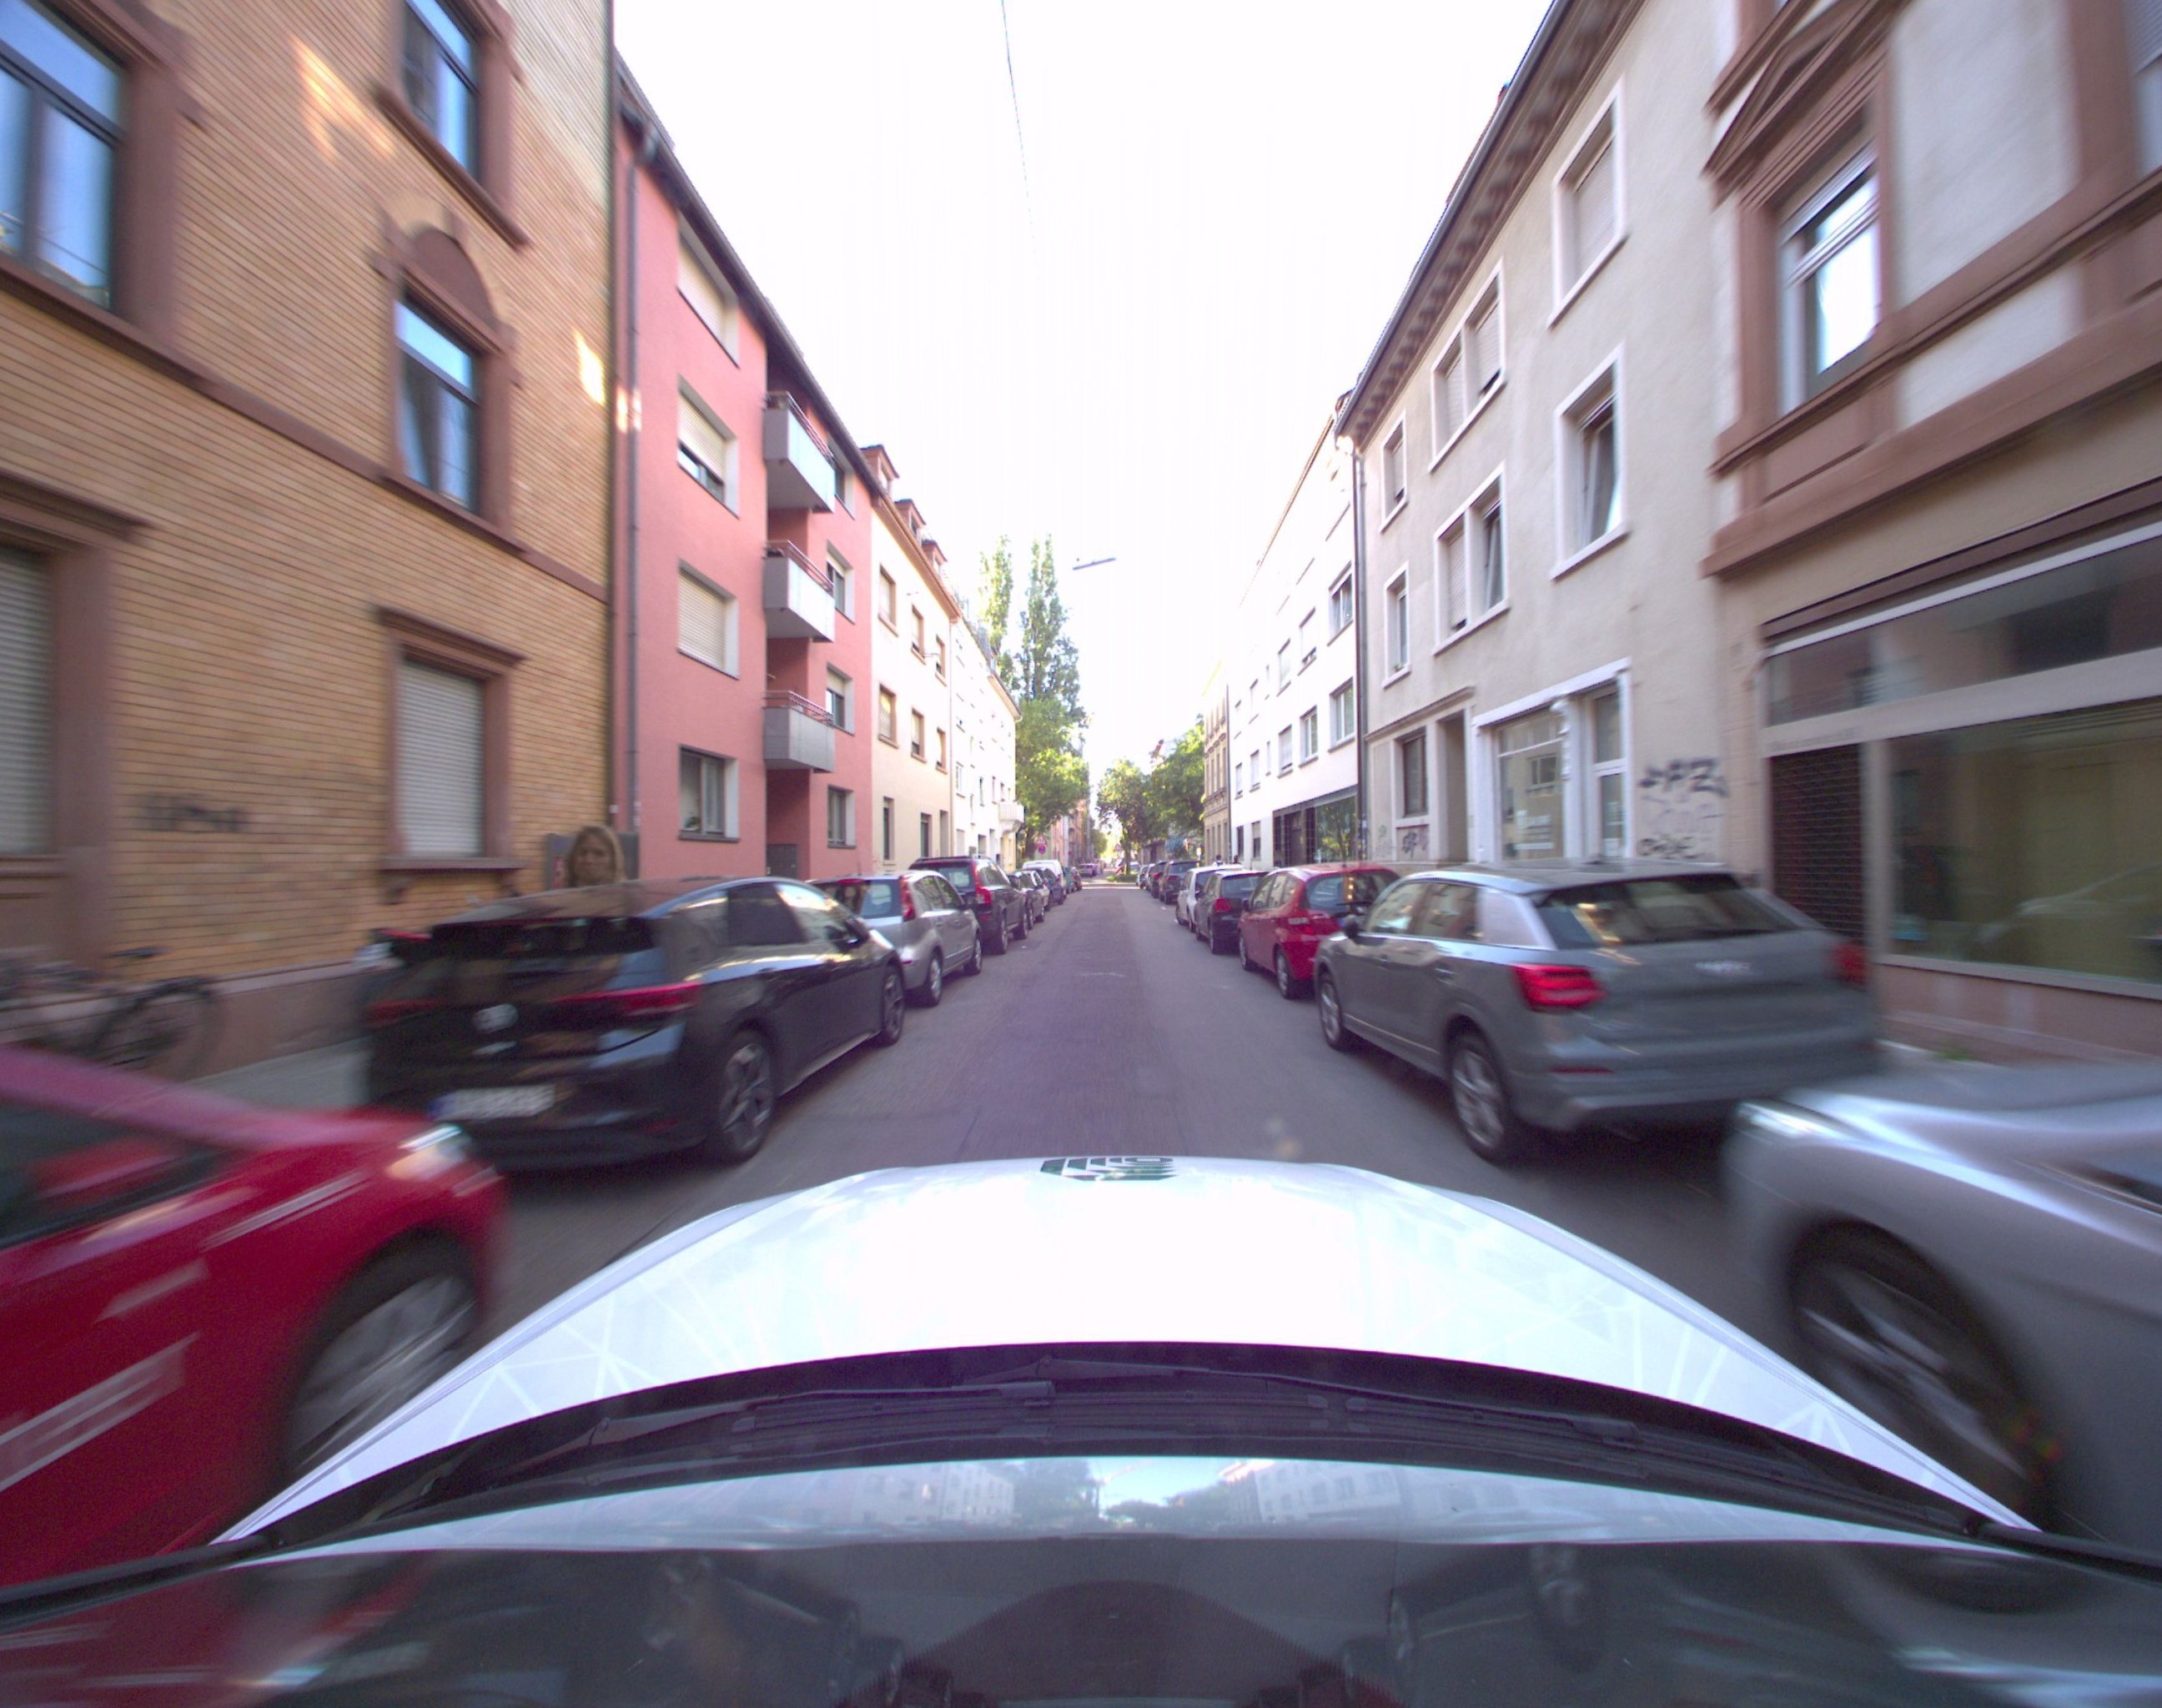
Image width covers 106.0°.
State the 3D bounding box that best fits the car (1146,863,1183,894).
[{"bbox_3d":[4.323,1.246,42.444,1.560,1.483,3.620,-3,0,1],"label":"car"}]

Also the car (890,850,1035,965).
[{"bbox_3d":[-2.102,0.896,15.813,1.736,1.811,4.677,-3,0,4],"label":"car"}]

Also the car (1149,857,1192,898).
[{"bbox_3d":[4.056,1.044,37.242,1.669,1.681,4.097,-3,-1,3],"label":"car"}]

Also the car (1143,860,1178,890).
[{"bbox_3d":[4.533,1.173,46.656,1.670,1.561,3.797,-3,0,1],"label":"car"}]

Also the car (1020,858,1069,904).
[{"bbox_3d":[-1.522,1.106,35.321,1.759,1.785,4.040,-3,0,1],"label":"car"}]

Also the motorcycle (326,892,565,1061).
[{"bbox_3d":[-5.460,0.985,7.175,0.531,1.206,1.910,-1,-1,3],"label":"motorcycle"}]

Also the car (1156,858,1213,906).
[{"bbox_3d":[4.020,1.043,32.246,1.670,1.627,4.251,-5,-1,1],"label":"car"}]

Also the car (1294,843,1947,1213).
[{"bbox_3d":[2.863,0.764,5.537,1.738,1.507,4.021,-3,0,0],"label":"car"}]

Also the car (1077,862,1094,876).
[{"bbox_3d":[0.547,1.627,89.240,1.670,1.487,4.096,-3,0,1],"label":"car"}]

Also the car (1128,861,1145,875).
[{"bbox_3d":[6.116,1.515,90.378,1.670,1.487,3.639,-3,0,1],"label":"car"}]

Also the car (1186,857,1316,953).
[{"bbox_3d":[3.076,0.854,15.472,1.670,1.507,3.938,-3,0,1],"label":"car"}]

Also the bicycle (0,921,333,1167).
[{"bbox_3d":[-5.574,1.010,4.757,0.531,1.074,1.892,3,0,3],"label":"bicycle"}]

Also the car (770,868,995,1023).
[{"bbox_3d":[-2.324,1.010,10.625,1.649,1.521,3.948,-3,0,4],"label":"car"}]

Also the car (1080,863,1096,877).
[{"bbox_3d":[0.808,1.788,94.656,1.670,1.487,4.096,-3,0,1],"label":"car"}]

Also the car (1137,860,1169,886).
[{"bbox_3d":[4.521,1.199,51.564,1.670,1.487,4.096,-3,0,1],"label":"car"}]

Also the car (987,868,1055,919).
[{"bbox_3d":[-1.852,1.208,26.247,1.667,1.388,4.183,-3,0,2],"label":"car"}]

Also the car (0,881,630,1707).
[{"bbox_3d":[-2.519,0.871,1.142,1.622,1.481,3.602,-3,0,1],"label":"car"}]

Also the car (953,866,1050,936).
[{"bbox_3d":[-1.939,1.135,21.219,1.736,1.507,4.350,-3,0,4],"label":"car"}]

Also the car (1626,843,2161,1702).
[{"bbox_3d":[2.812,0.747,0.664,1.738,1.507,4.356,-3,0,-1],"label":"car"}]

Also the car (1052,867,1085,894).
[{"bbox_3d":[-0.692,1.539,48.298,1.664,1.361,4.050,-3,0,2],"label":"car"}]

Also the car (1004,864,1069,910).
[{"bbox_3d":[-1.611,1.178,30.638,1.664,1.486,4.000,-3,0,7],"label":"car"}]

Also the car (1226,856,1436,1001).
[{"bbox_3d":[3.107,0.832,11.024,1.592,1.507,4.185,-3,0,1],"label":"car"}]

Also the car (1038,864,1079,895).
[{"bbox_3d":[-1.171,1.364,44.045,1.662,1.469,3.826,-3,0,5],"label":"car"}]

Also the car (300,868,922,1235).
[{"bbox_3d":[-2.528,0.926,5.693,1.688,1.521,4.100,-3,0,4],"label":"car"}]

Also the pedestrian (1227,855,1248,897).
[{"bbox_3d":[6.311,0.892,32.877,0.683,1.660,0.718,-2,-1,2],"label":"pedestrian"}]

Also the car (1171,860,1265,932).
[{"bbox_3d":[3.245,0.943,19.975,1.670,1.507,3.938,-3,0,1],"label":"car"}]

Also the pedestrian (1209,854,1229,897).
[{"bbox_3d":[5.565,0.860,32.872,0.683,1.660,0.718,-2,-1,2],"label":"pedestrian"}]

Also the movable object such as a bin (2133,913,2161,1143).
[{"bbox_3d":[5.151,0.786,3.467,0.512,1.040,0.594,-3,-1,2],"label":"movable object such as a bin"}]
